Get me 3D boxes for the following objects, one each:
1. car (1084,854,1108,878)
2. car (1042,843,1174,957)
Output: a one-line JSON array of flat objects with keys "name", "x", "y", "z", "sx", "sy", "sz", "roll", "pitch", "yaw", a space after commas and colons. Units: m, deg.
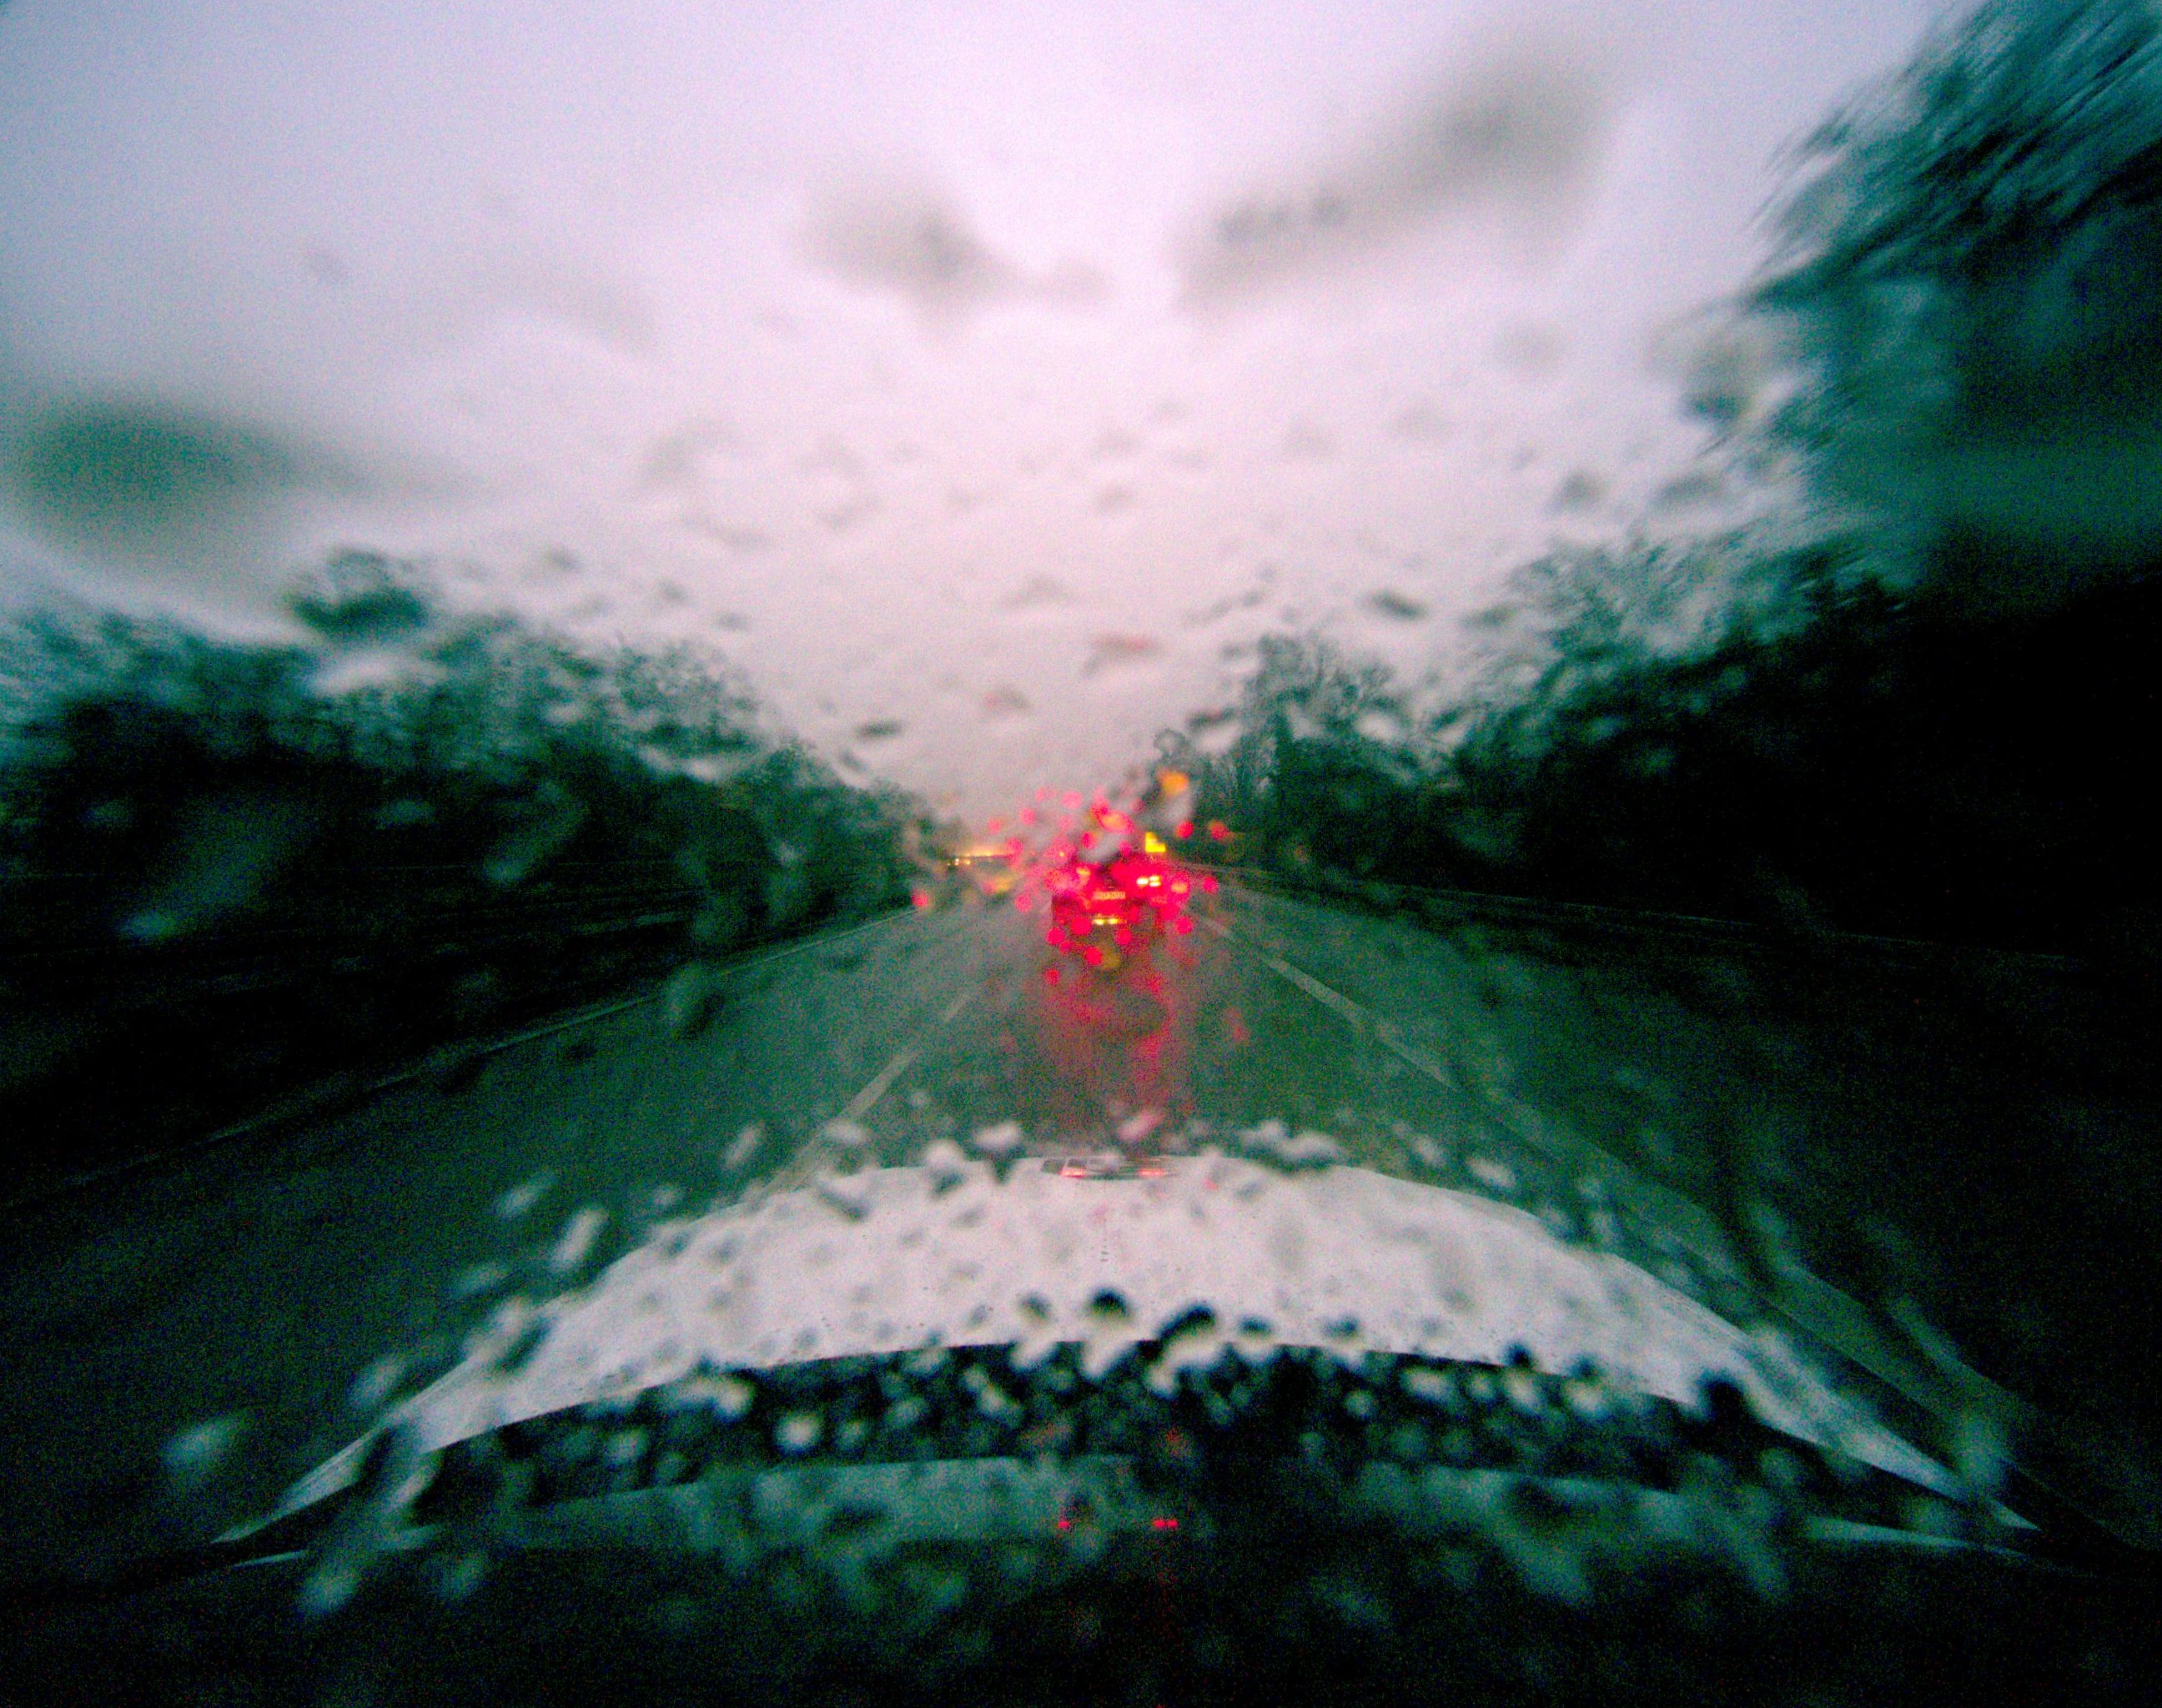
[{"name": "car", "x": 1.311, "y": 1.014, "z": 70.511, "sx": 1.987, "sy": 2.013, "sz": 4.000, "roll": -1, "pitch": 0, "yaw": 1}, {"name": "car", "x": 0.455, "y": 0.705, "z": 14.326, "sx": 1.985, "sy": 1.715, "sz": 3.831, "roll": -1, "pitch": 0, "yaw": 1}]
